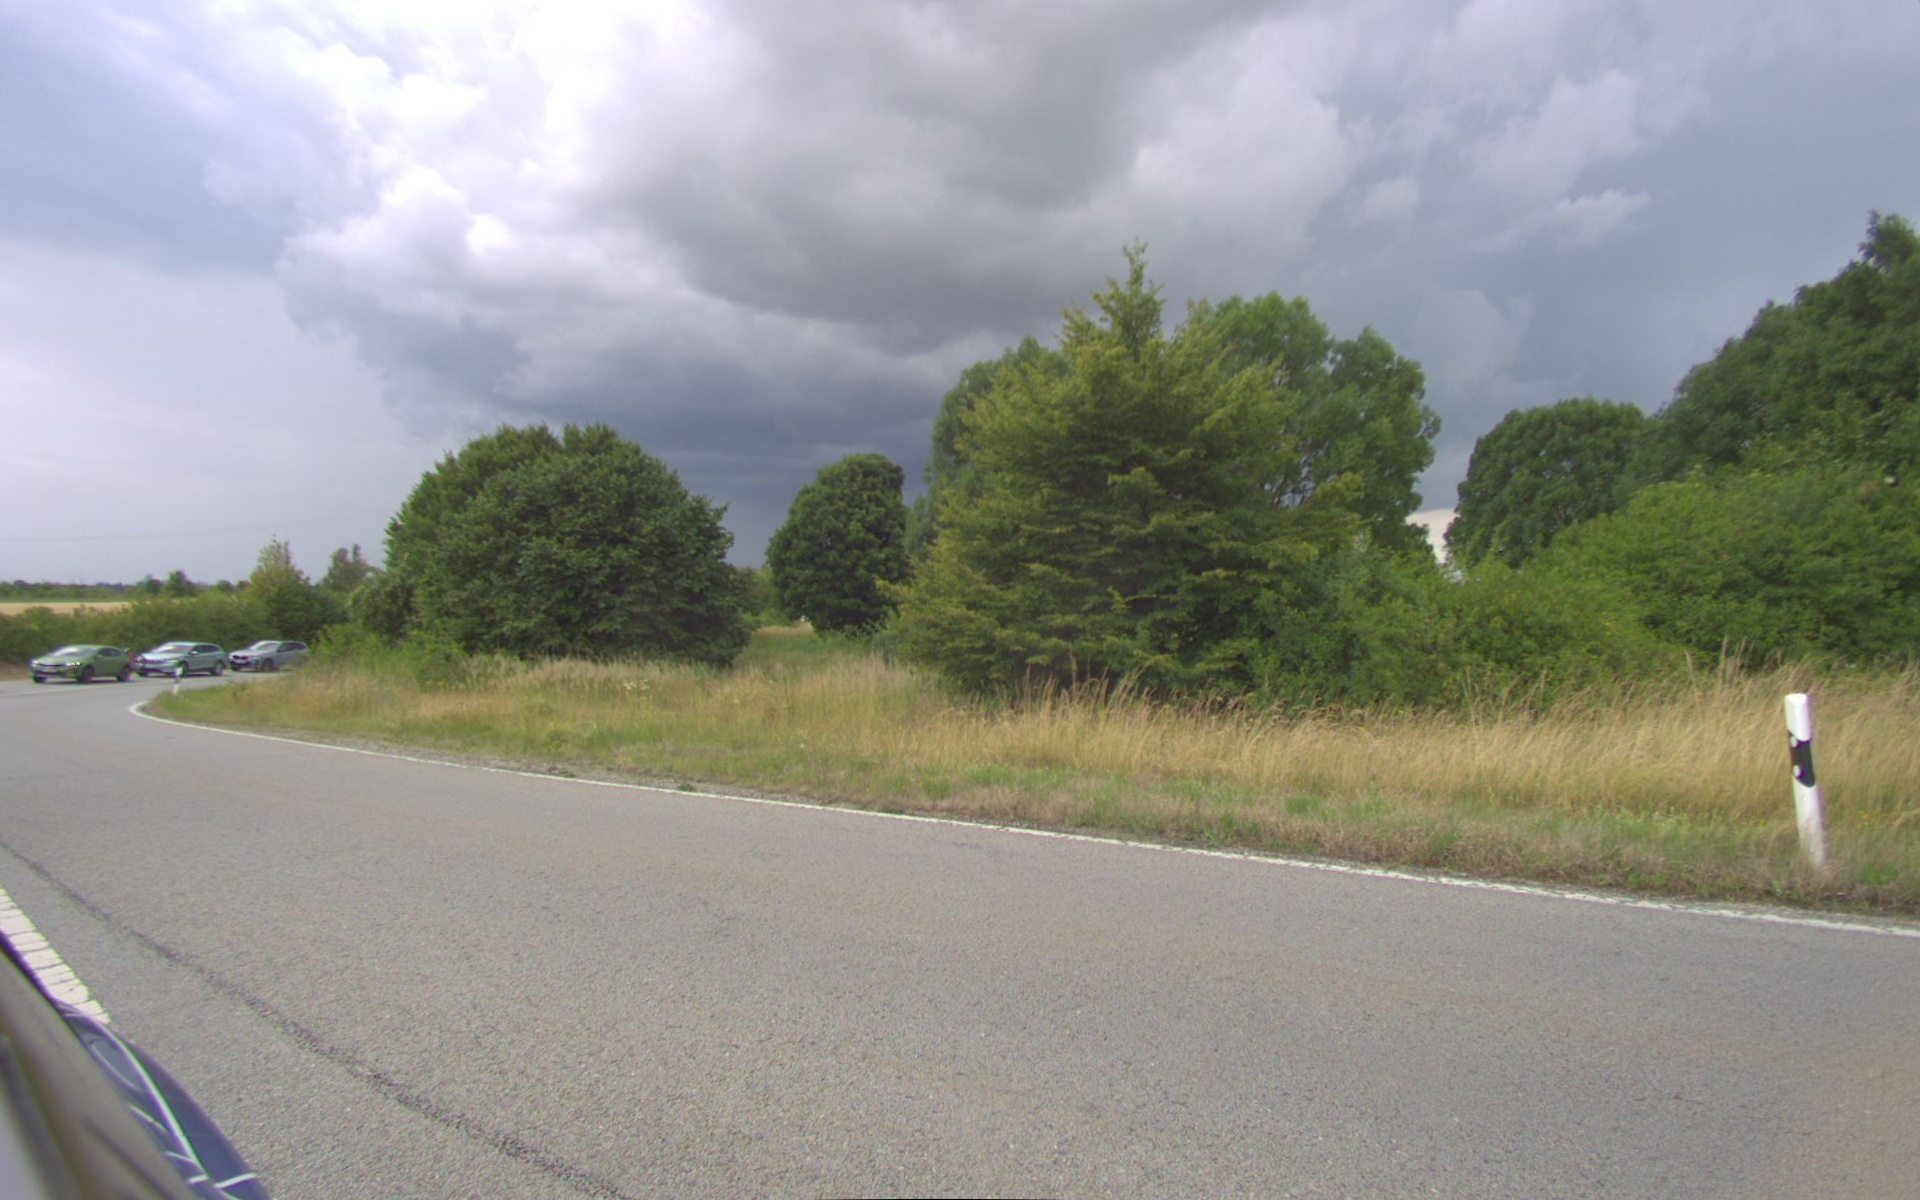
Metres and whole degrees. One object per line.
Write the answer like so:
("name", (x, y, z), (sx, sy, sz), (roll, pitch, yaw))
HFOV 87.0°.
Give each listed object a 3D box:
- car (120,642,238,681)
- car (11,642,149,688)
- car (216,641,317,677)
("car", (-37.506, 2.951, 48.803), (1.969, 1.733, 5.214), (2, -3, -6))
("car", (-36.088, 2.636, 41.732), (1.967, 1.733, 5.221), (2, -3, -13))
("car", (-38.112, 3.211, 55.815), (1.972, 1.732, 5.208), (2, -1, -1))
